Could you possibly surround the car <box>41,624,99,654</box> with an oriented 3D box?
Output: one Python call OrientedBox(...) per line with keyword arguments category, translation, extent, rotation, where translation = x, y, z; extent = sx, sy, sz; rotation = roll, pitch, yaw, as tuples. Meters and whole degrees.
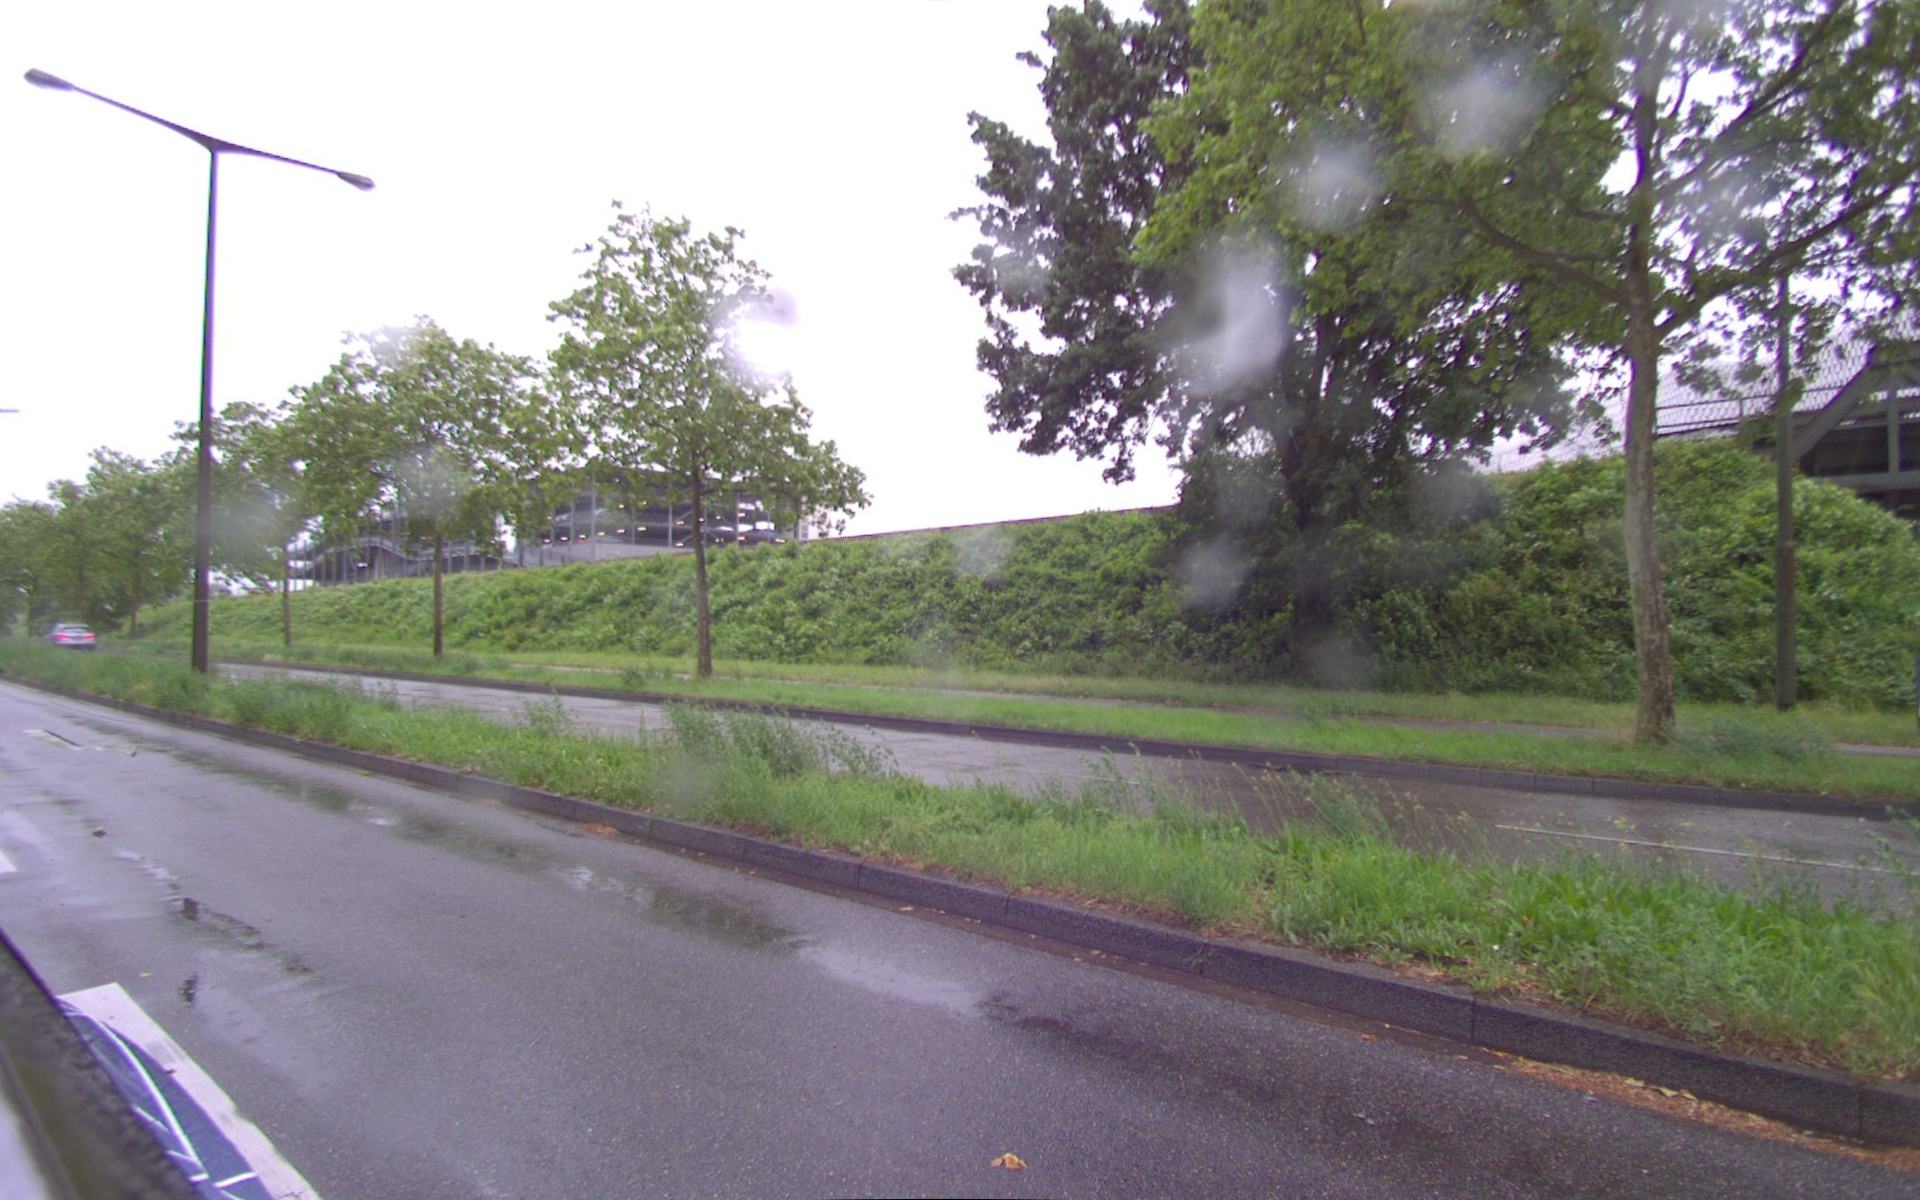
OrientedBox(category="car", translation=(-50.534, 2.221, 57.466), extent=(4.516, 1.601, 1.837), rotation=(-1, -4, 41))
